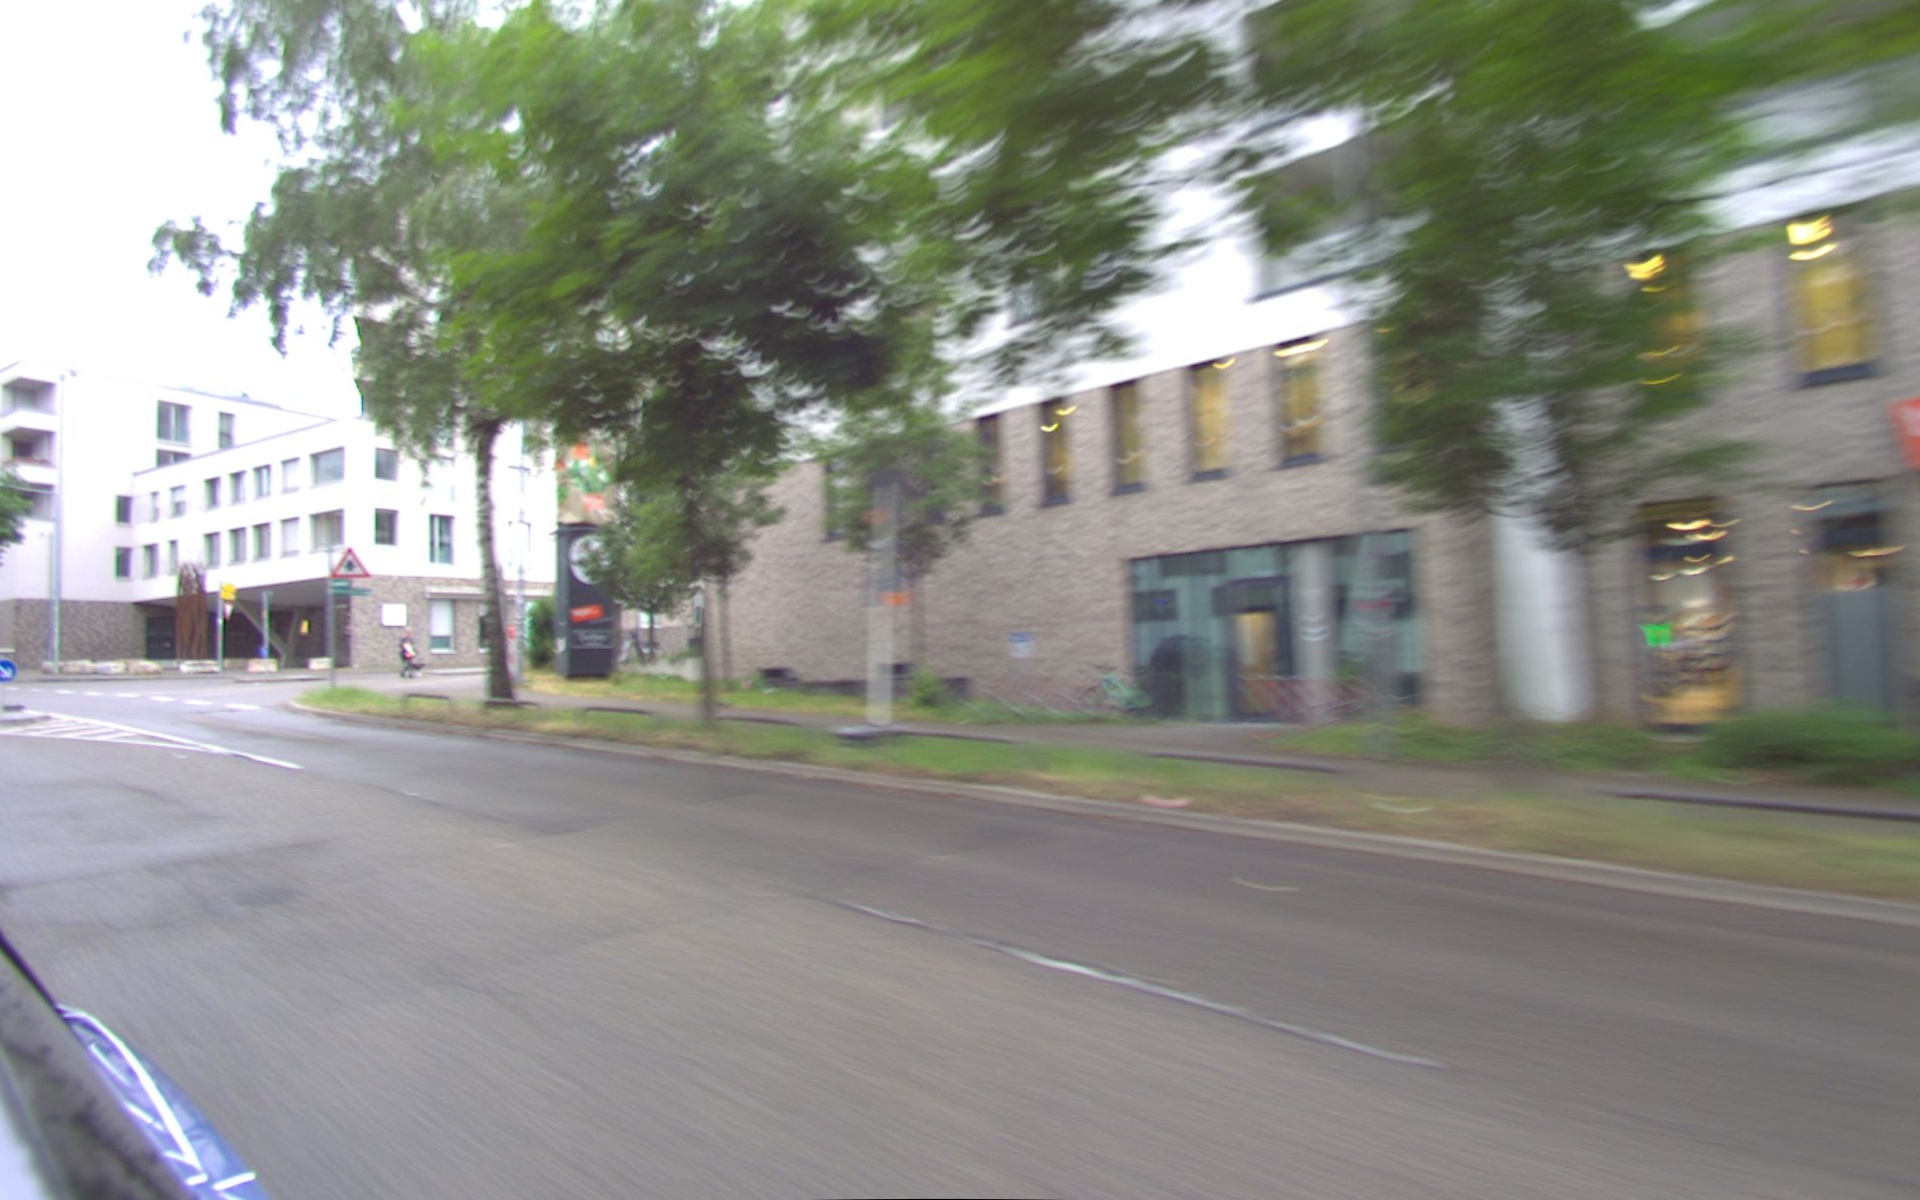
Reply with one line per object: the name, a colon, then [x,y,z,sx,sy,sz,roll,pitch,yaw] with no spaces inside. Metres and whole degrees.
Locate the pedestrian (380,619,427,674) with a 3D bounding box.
pedestrian: [-20.602,1.713,37.468,1.088,2.029,1.054,-1,-2,12]
